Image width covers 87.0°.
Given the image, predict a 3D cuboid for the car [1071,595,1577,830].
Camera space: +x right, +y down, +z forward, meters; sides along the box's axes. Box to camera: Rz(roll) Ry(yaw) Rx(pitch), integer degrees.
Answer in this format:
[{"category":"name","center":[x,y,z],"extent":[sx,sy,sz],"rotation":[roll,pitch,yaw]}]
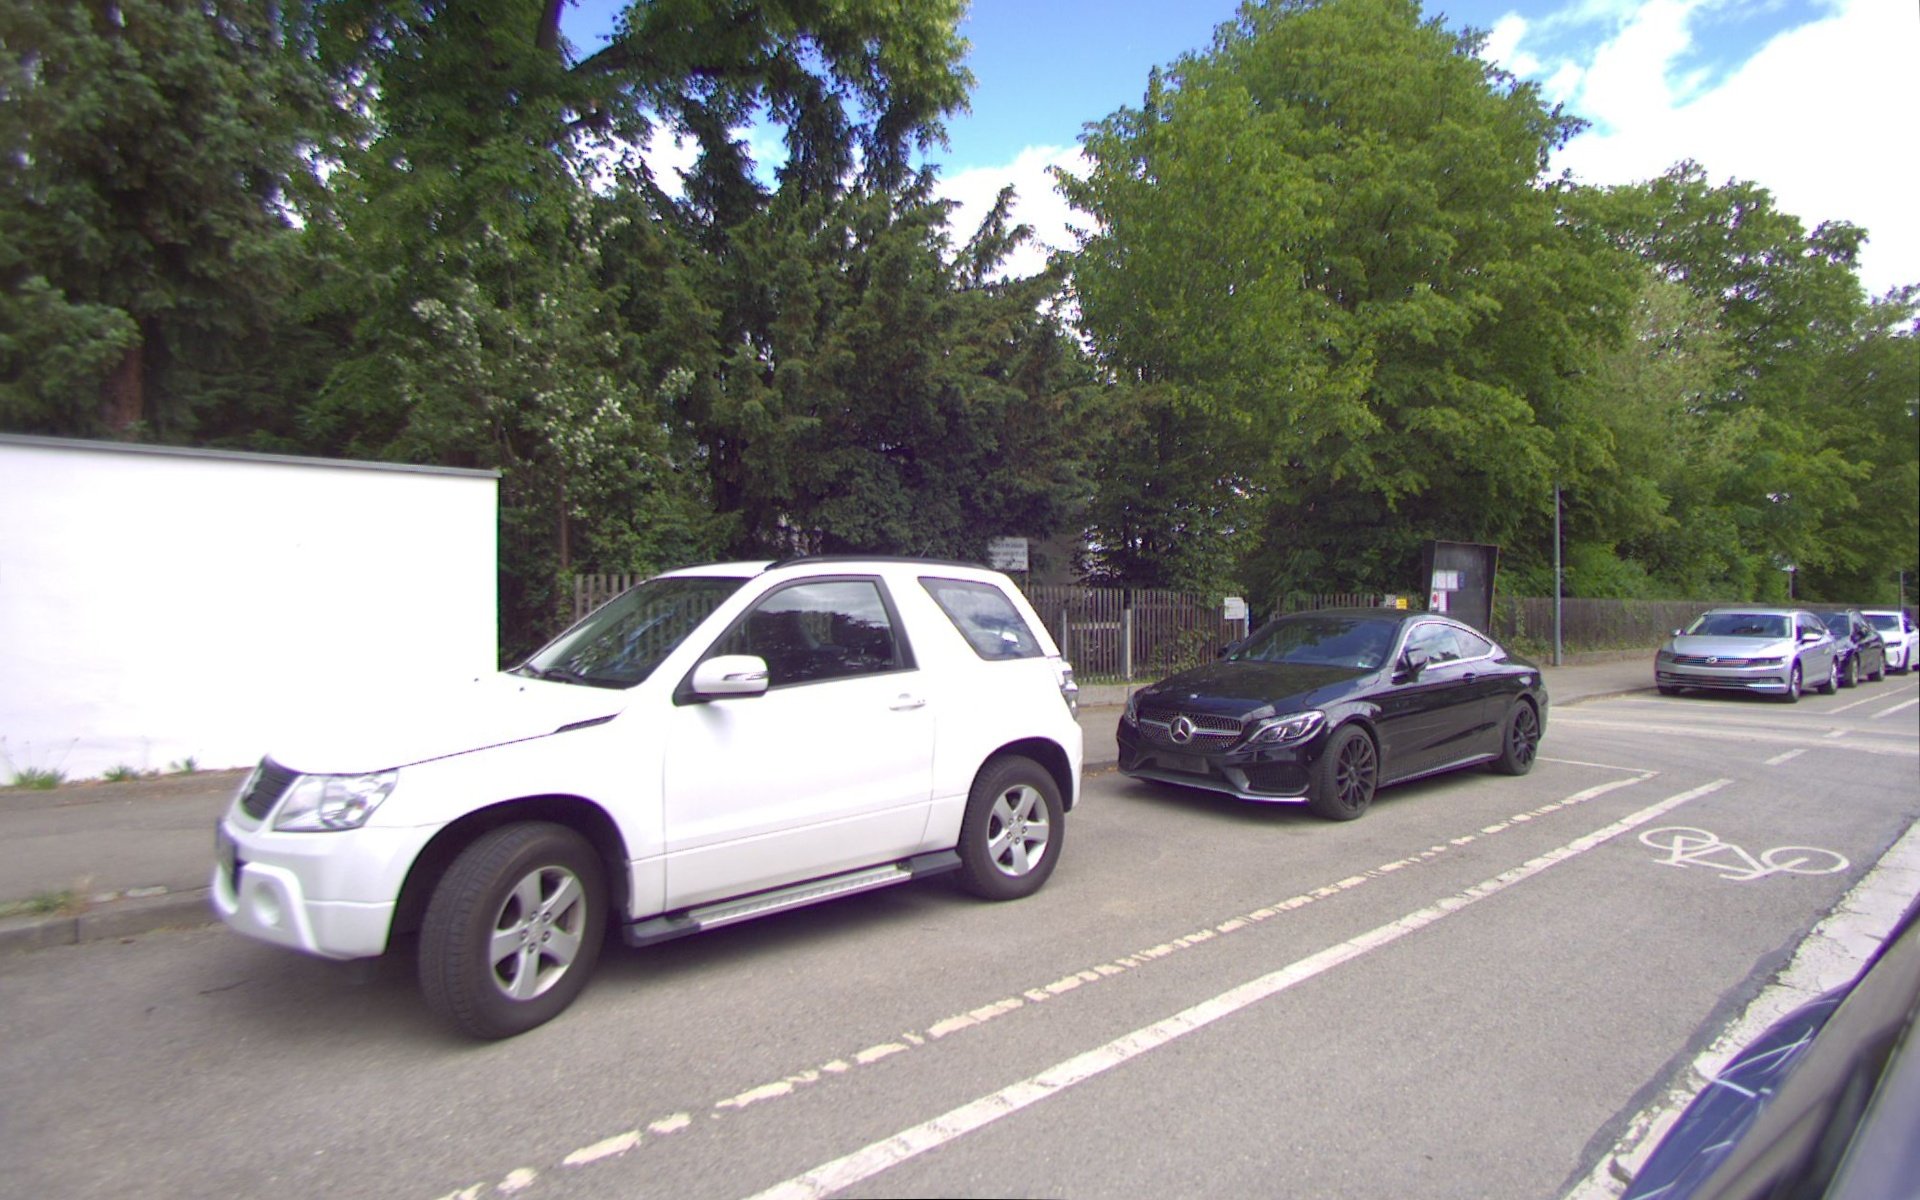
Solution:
[{"category":"car","center":[3.179,0.699,8.363],"extent":[4.519,1.435,1.868],"rotation":[0,0,-39]}]

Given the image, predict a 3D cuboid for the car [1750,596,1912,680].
[{"category":"car","center":[17.651,0.715,20.444],"extent":[4.455,1.530,1.705],"rotation":[1,-2,-39]}]

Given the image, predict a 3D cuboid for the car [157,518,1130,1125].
[{"category":"car","center":[-1.215,0.583,4.839],"extent":[4.045,1.663,1.903],"rotation":[-1,1,-41]}]

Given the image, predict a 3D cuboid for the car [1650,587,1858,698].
[{"category":"car","center":[13.542,0.627,17.154],"extent":[4.604,1.631,1.864],"rotation":[-1,-1,-40]}]

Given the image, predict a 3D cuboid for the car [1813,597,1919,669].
[{"category":"car","center":[21.840,0.717,23.960],"extent":[3.958,1.529,1.772],"rotation":[-1,0,-39]}]
